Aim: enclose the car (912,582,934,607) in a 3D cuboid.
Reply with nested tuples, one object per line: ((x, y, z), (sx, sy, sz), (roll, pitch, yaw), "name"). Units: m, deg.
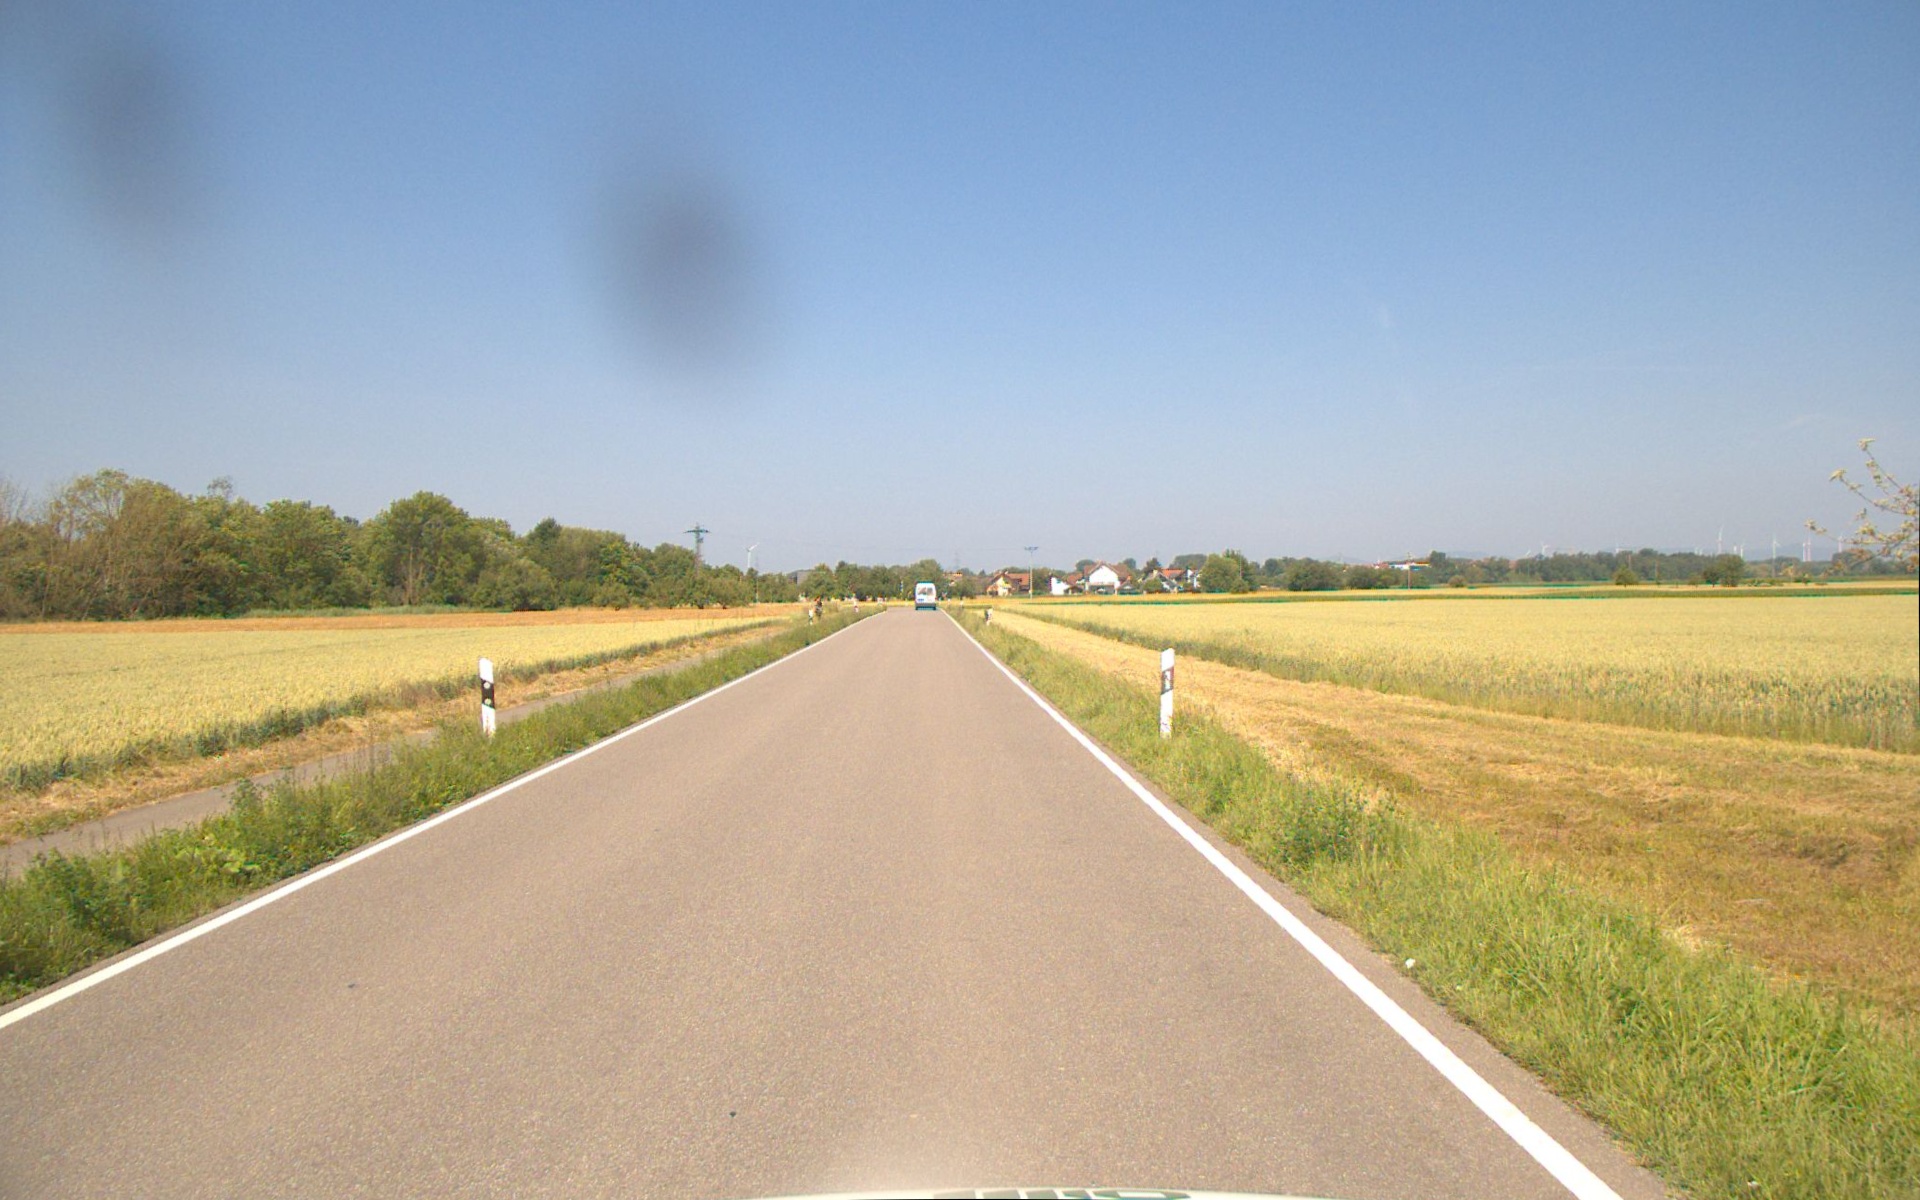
((-3.562, -0.495, 158.100), (2.064, 2.344, 5.494), (1, 0, -2), "car")

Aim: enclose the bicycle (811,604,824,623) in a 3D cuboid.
((-9.829, 0.931, 114.173), (0.744, 1.257, 2.393), (-3, 0, -1), "bicycle")

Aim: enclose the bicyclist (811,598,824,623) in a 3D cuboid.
((-9.826, 0.704, 114.316), (0.744, 1.702, 1.088), (-2, 0, -1), "bicyclist")
